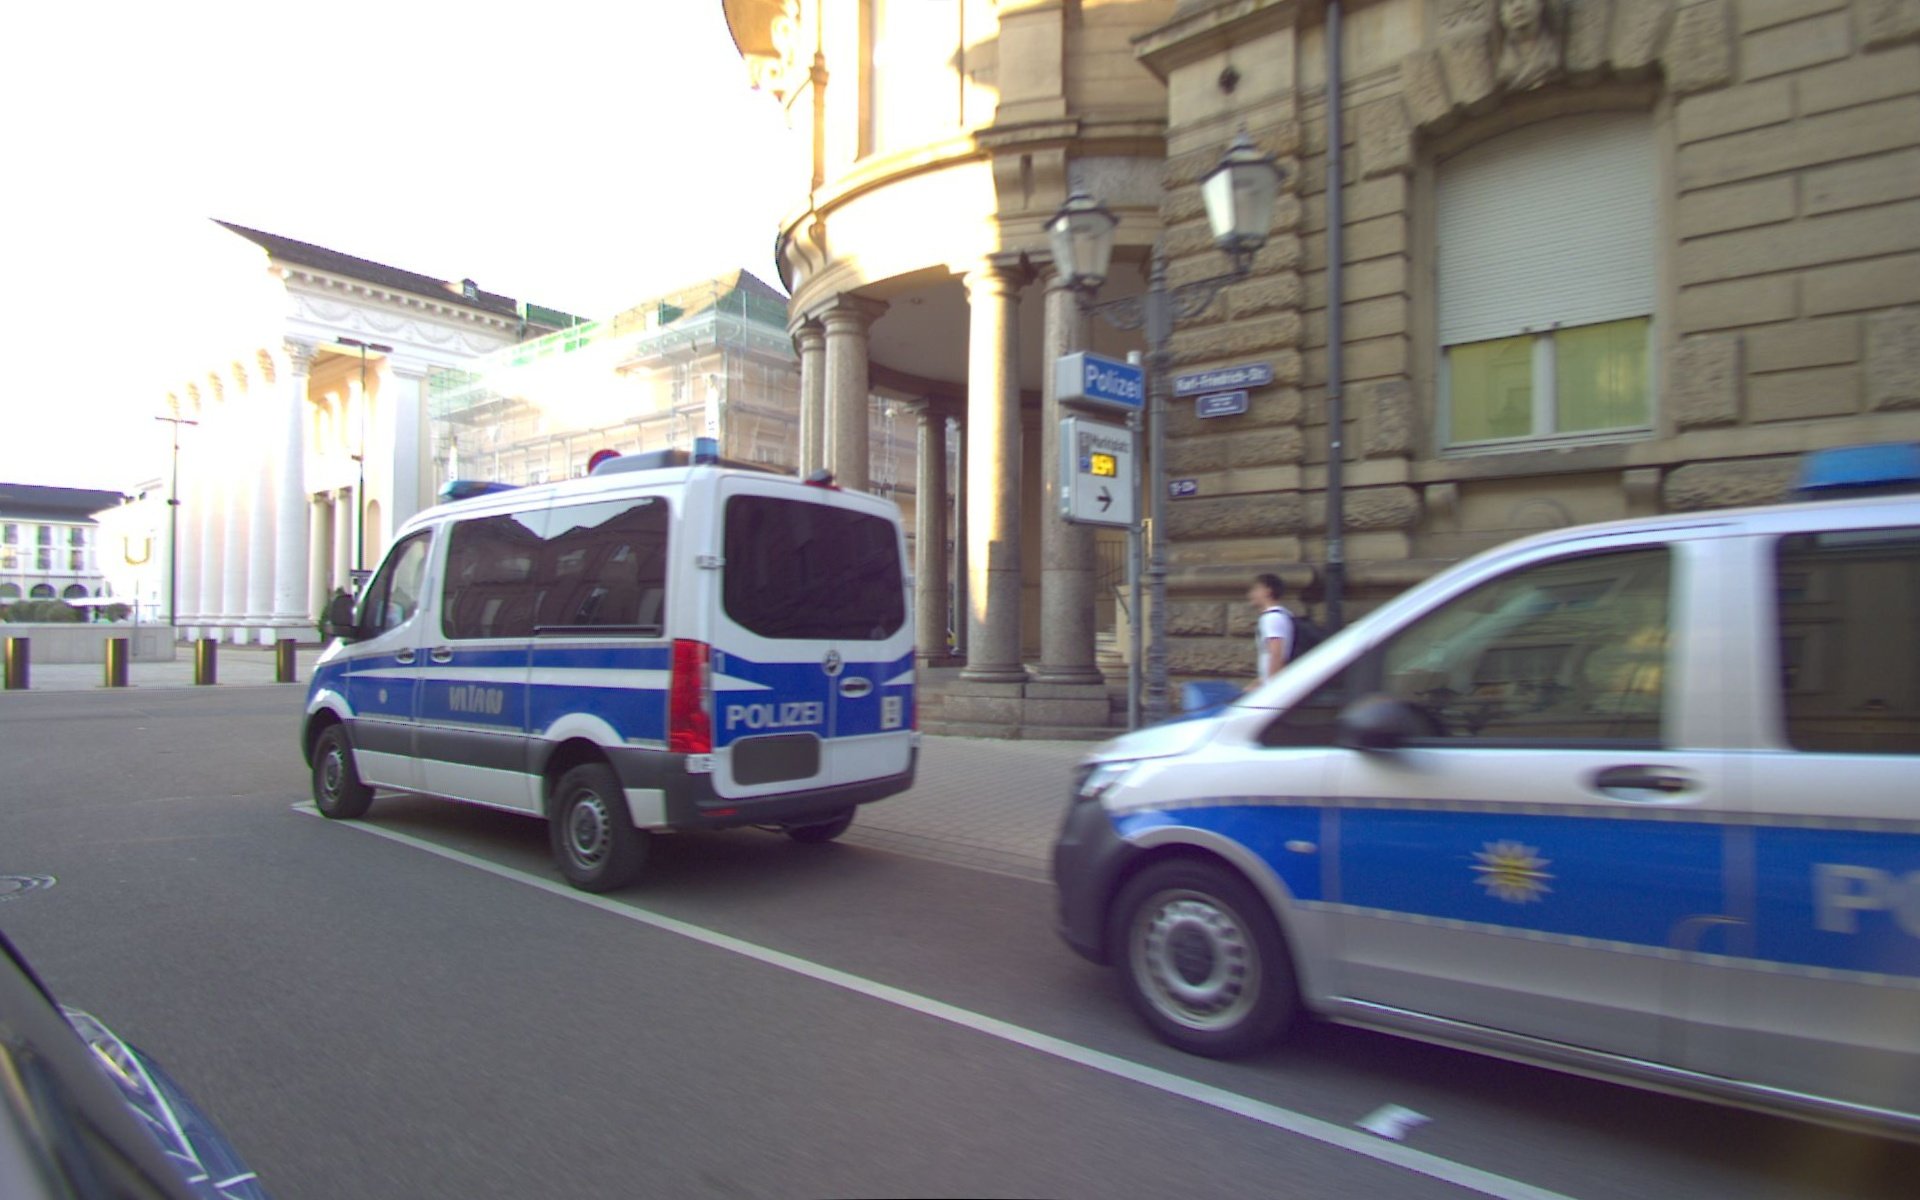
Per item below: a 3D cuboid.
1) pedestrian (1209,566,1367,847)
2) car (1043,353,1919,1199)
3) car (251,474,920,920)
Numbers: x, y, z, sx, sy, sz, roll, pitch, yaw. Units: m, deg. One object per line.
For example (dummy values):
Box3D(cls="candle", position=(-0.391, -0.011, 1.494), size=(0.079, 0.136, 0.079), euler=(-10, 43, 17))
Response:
Box3D(cls="pedestrian", position=(2.333, 0.712, 7.214), size=(0.910, 1.853, 0.646), euler=(-1, -2, 37))
Box3D(cls="car", position=(2.955, 0.503, 2.994), size=(5.201, 2.103, 1.974), euler=(-1, -2, 39))
Box3D(cls="car", position=(-2.929, 0.523, 7.306), size=(5.196, 2.188, 1.976), euler=(-1, -2, 36))
